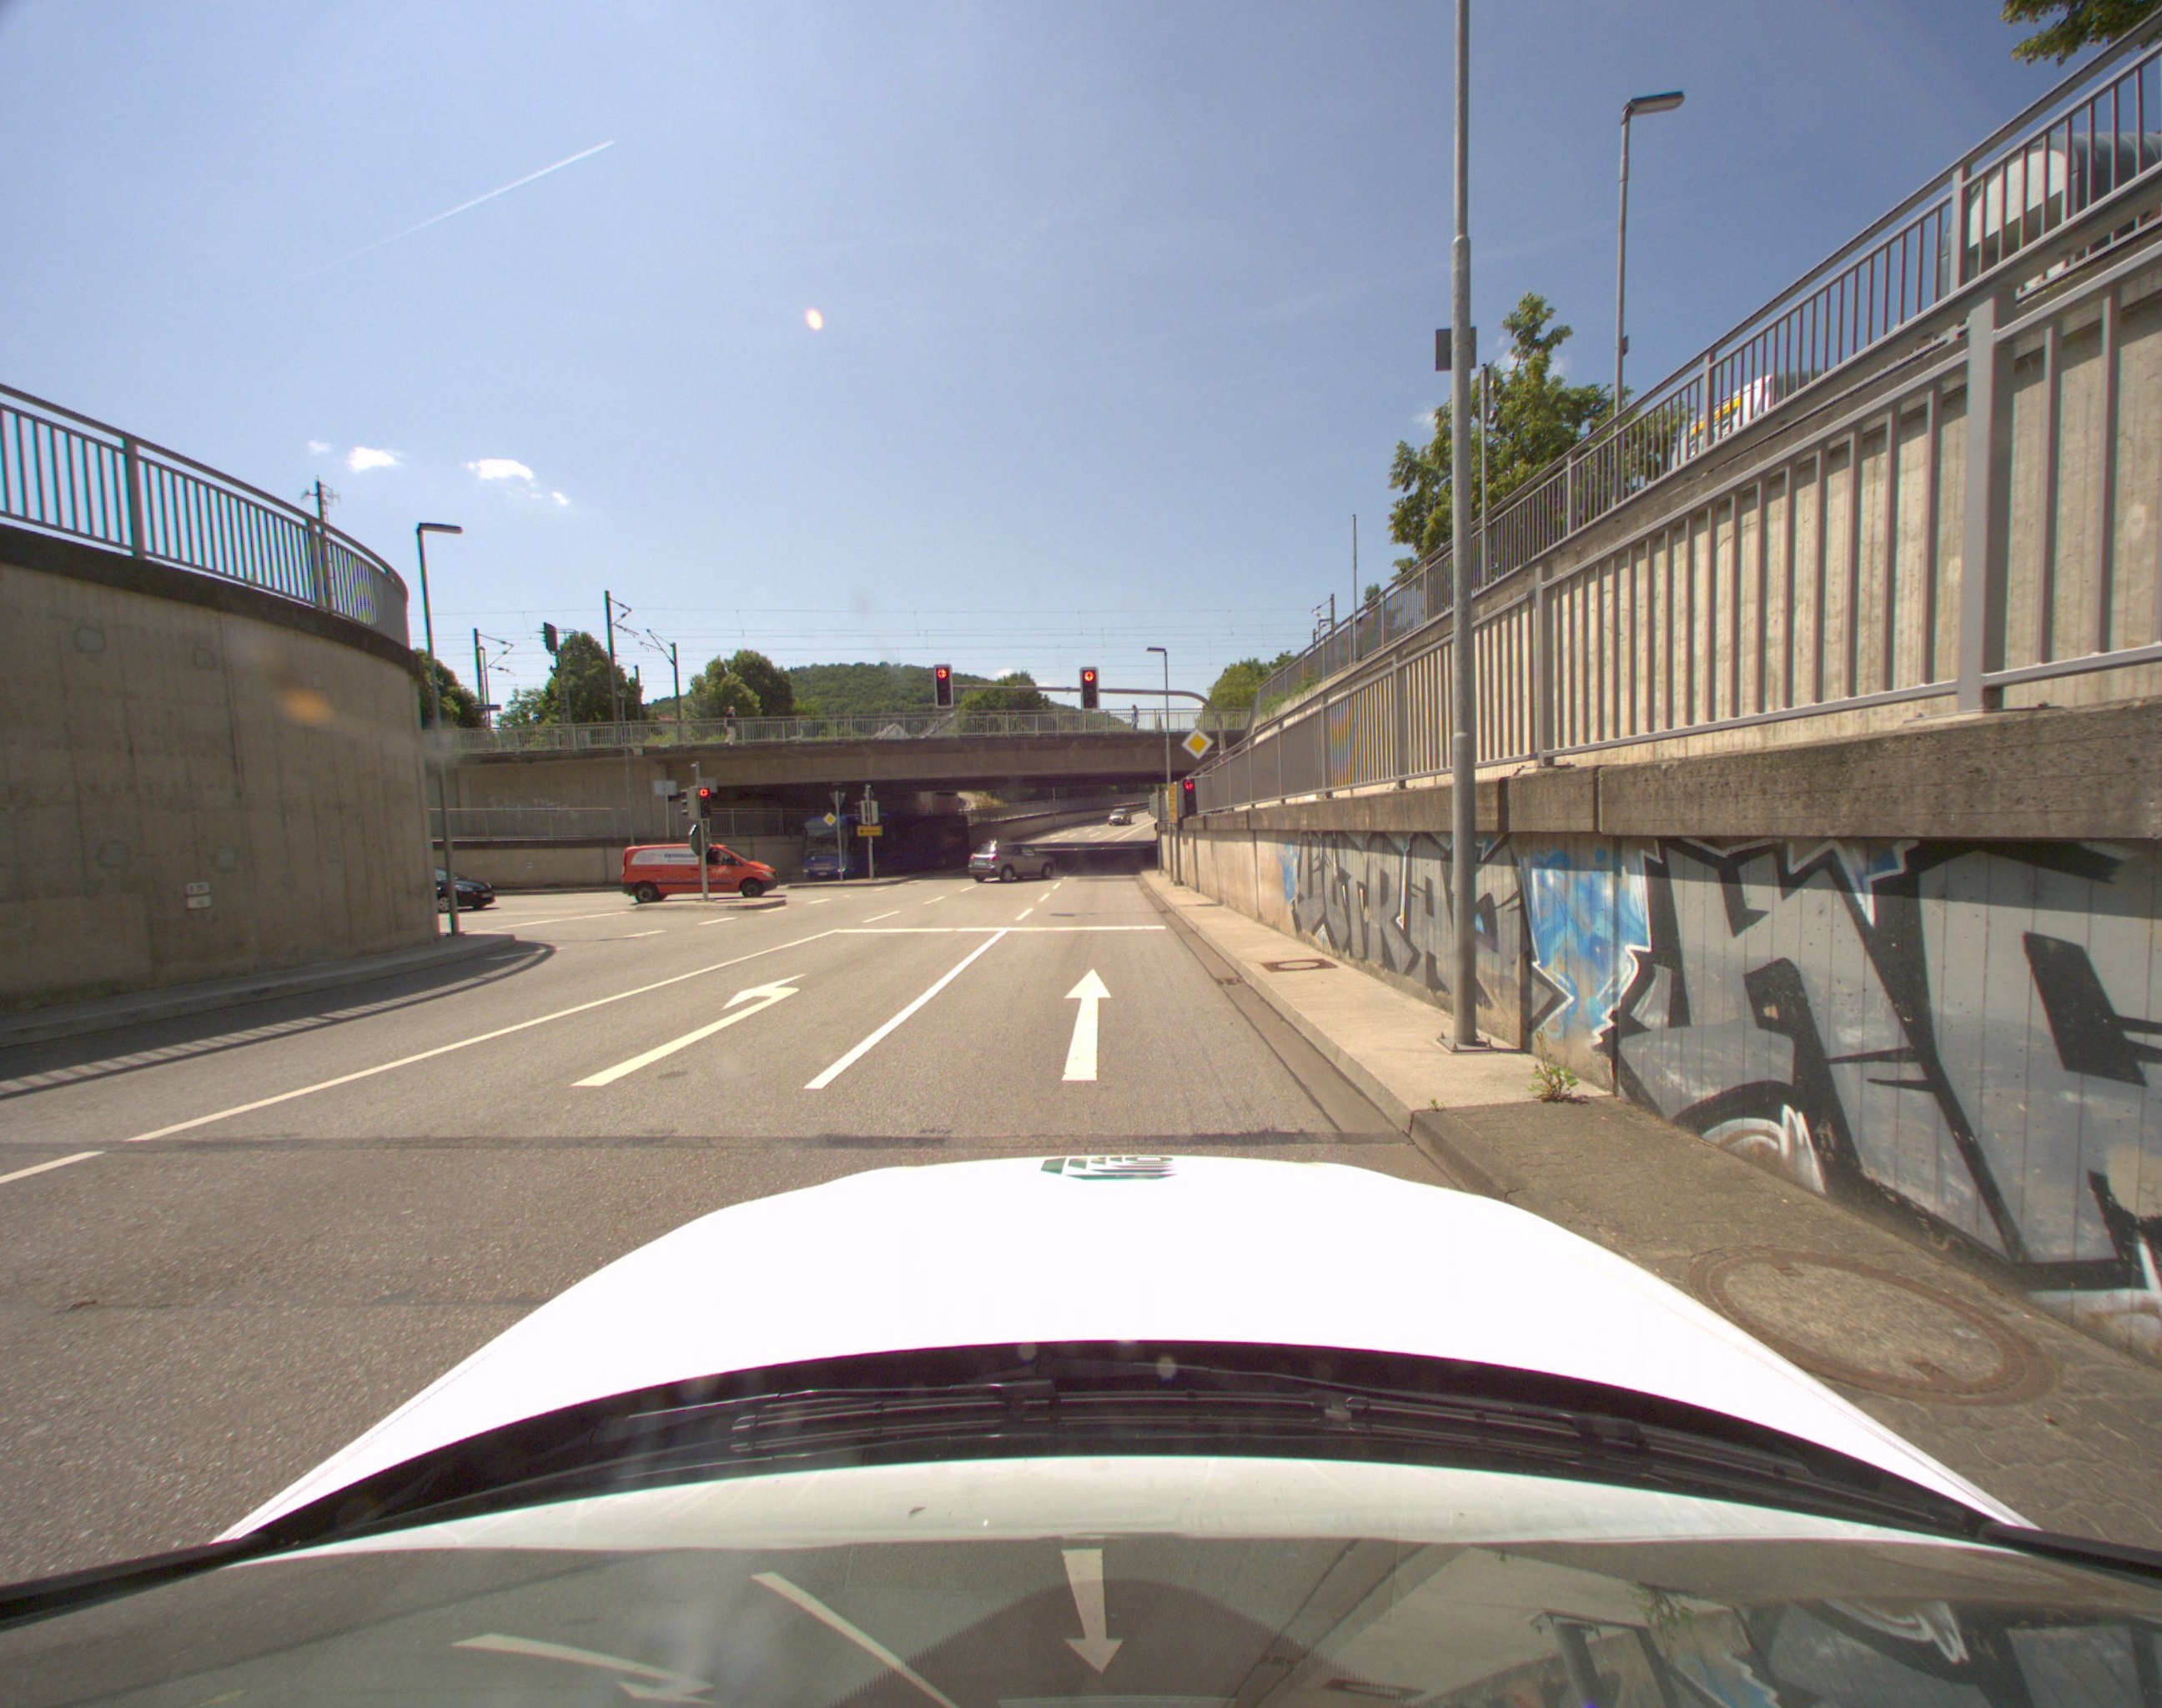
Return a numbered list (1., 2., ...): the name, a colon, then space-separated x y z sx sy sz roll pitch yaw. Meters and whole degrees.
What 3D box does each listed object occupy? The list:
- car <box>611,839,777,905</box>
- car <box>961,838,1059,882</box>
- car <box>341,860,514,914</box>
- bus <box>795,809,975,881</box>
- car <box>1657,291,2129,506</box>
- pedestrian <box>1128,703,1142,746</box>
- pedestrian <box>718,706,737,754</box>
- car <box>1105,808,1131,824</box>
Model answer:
1. car: -12.840 0.536 27.384 4.714 1.932 1.869 -2 3 -16
2. car: -2.948 0.195 34.436 1.787 1.617 4.026 1 3 39
3. car: -20.991 1.030 26.257 3.968 1.507 2.003 -1 2 4
4. bus: -9.539 -0.688 42.174 2.559 3.172 12.441 -1 3 20
5. car: 9.776 -5.514 10.104 3.968 1.486 1.772 -1 0 4
6. pedestrian: 2.737 -6.568 41.402 0.538 2.081 0.534 -2 0 -5
7. pedestrian: -15.909 -5.577 36.656 0.576 2.081 0.533 -2 0 -9
8. car: 4.021 -4.109 88.399 1.979 1.627 4.017 -1 3 15
